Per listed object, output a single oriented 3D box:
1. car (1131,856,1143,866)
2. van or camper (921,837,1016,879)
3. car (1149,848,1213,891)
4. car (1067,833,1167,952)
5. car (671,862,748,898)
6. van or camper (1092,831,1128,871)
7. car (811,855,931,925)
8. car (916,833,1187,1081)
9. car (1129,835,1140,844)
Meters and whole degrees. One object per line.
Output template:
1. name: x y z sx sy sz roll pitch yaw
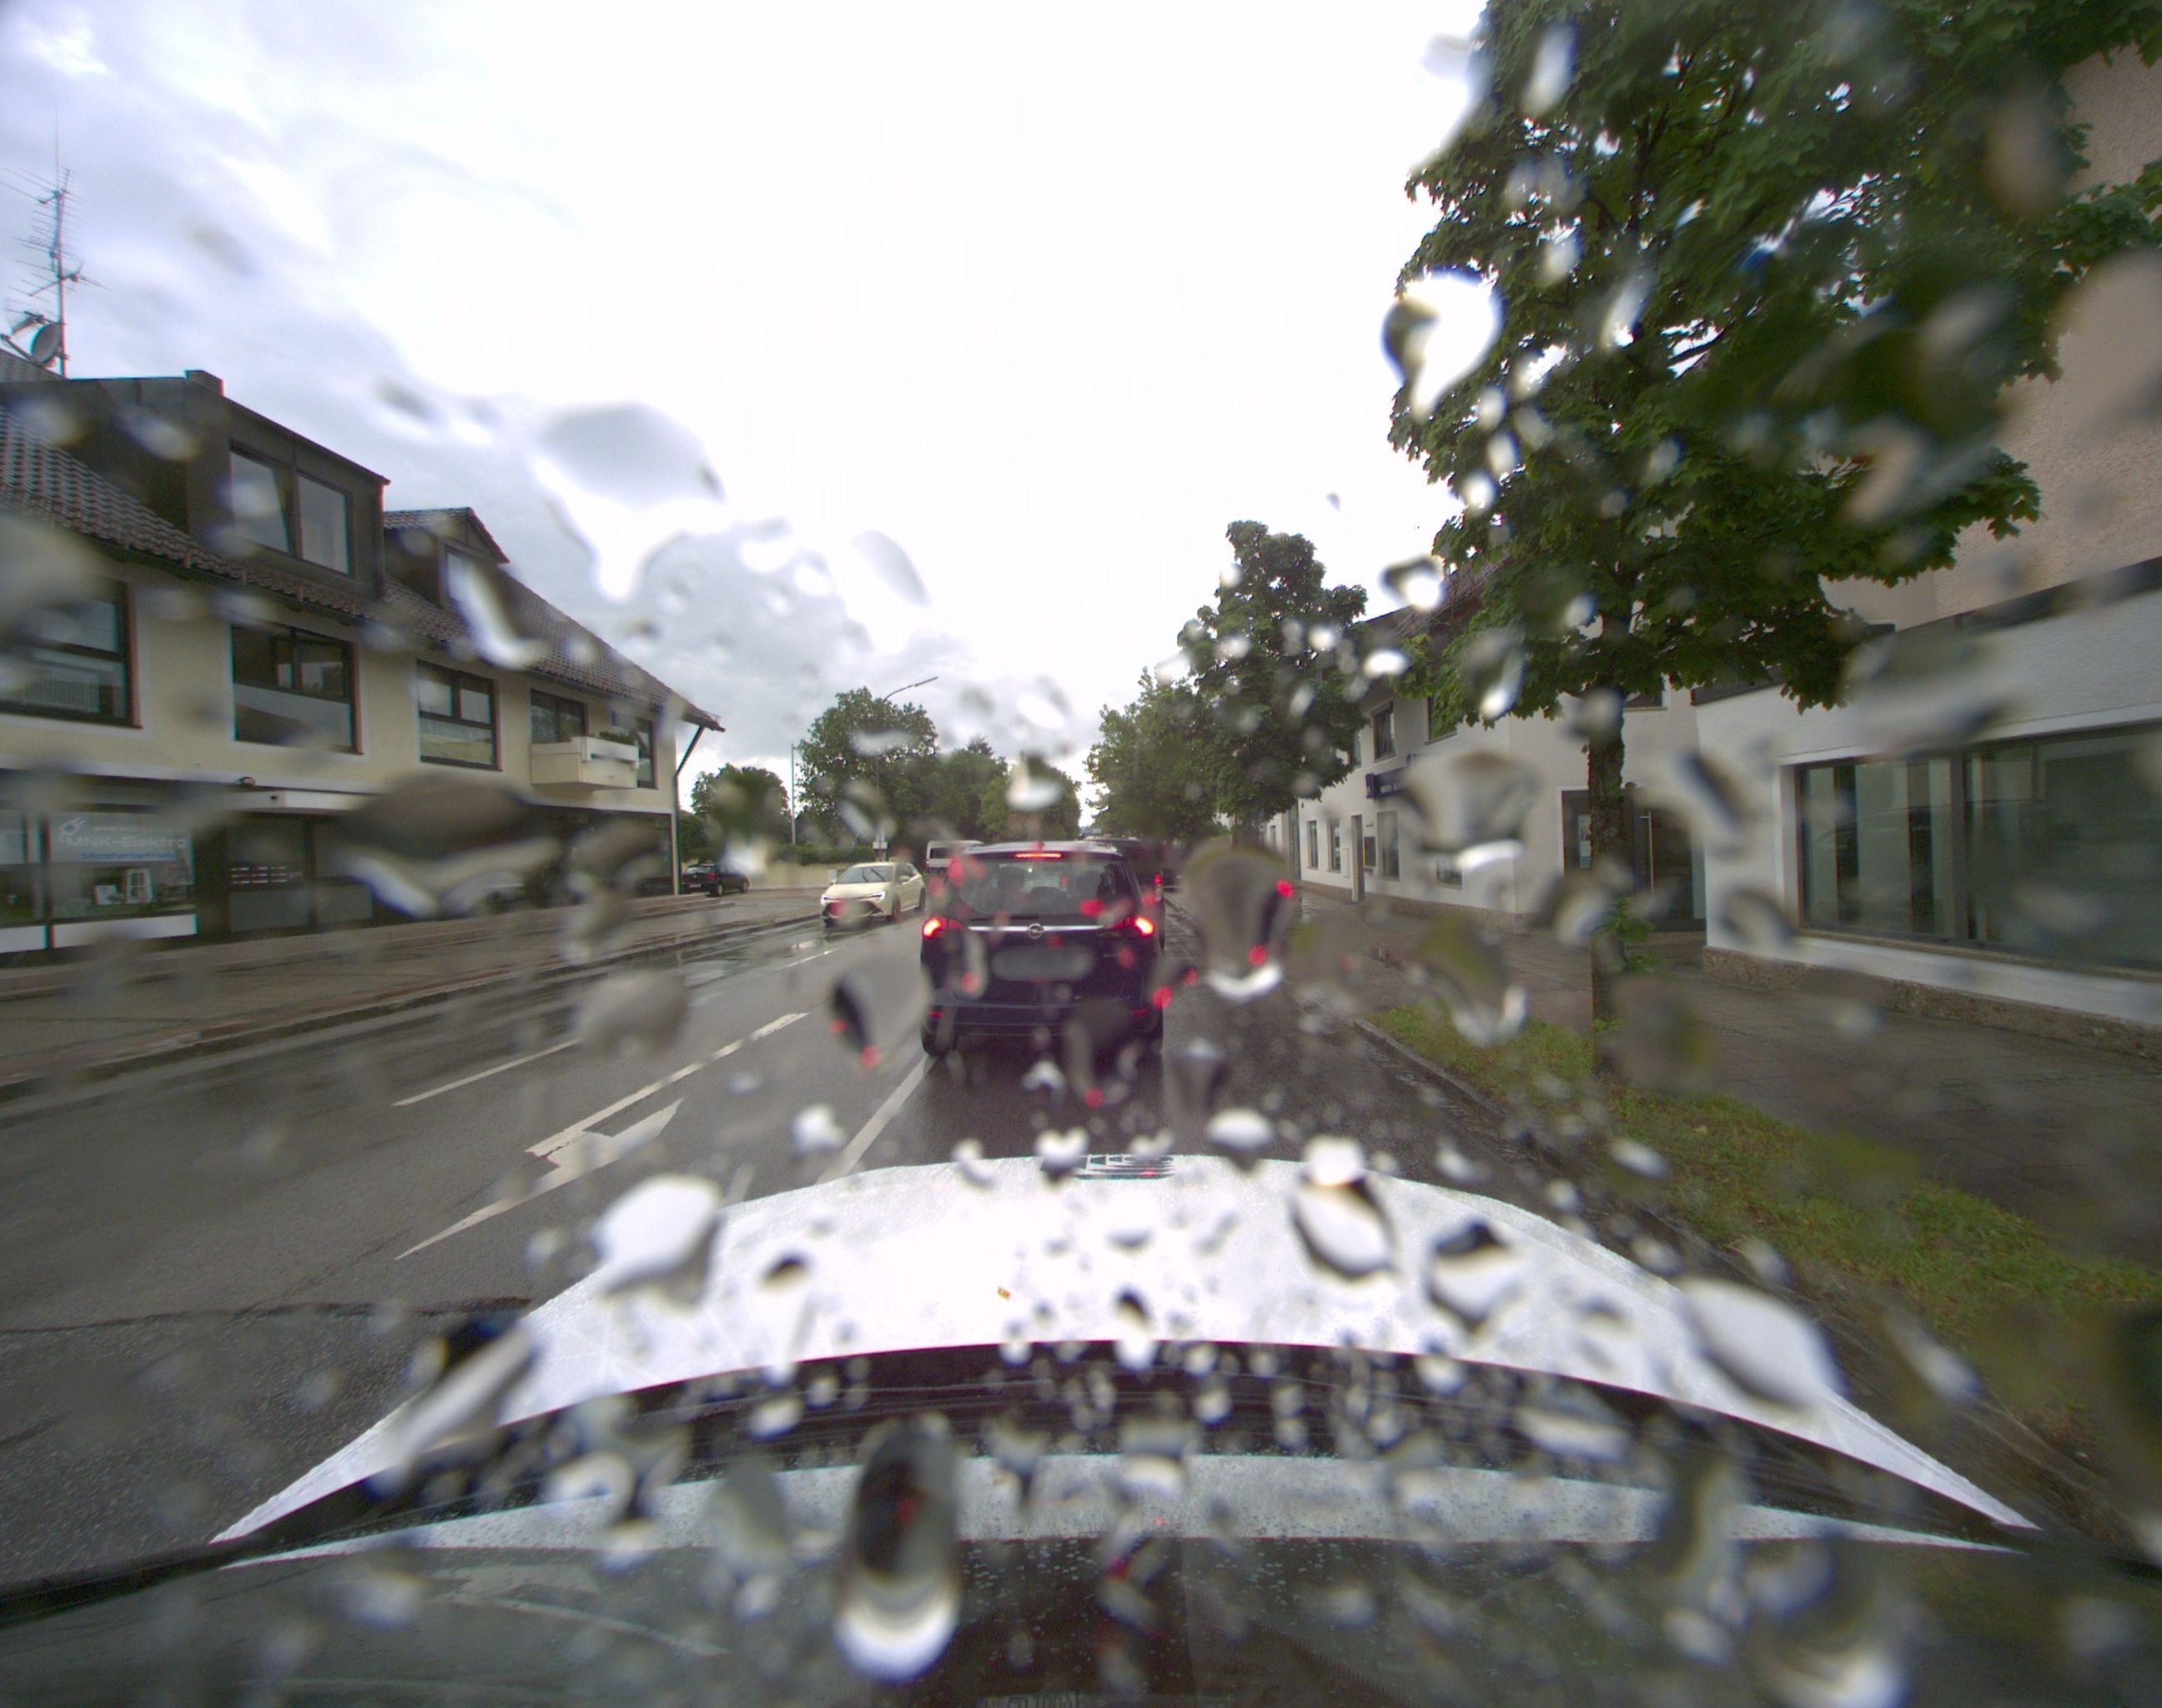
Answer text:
1. car: 8.254 1.063 120.832 1.624 1.378 3.624 -1 -1 1
2. van or camper: -7.893 0.255 57.557 6.222 2.707 2.103 -2 0 3
3. car: 3.863 0.593 32.154 2.110 1.581 3.936 0 0 1
4. car: 0.590 0.579 13.762 1.495 1.776 3.113 0 0 2
5. car: -16.296 1.094 35.900 1.601 1.380 3.510 -3 0 2
6. van or camper: 2.046 -0.195 58.231 2.351 2.665 5.374 -2 0 2
7. car: -5.267 0.841 21.002 1.745 1.511 4.233 -3 0 3
8. car: -0.138 0.678 7.179 1.762 1.604 3.665 -1 0 2
9. car: 8.584 -2.332 130.338 1.624 1.378 3.624 -3 0 1
